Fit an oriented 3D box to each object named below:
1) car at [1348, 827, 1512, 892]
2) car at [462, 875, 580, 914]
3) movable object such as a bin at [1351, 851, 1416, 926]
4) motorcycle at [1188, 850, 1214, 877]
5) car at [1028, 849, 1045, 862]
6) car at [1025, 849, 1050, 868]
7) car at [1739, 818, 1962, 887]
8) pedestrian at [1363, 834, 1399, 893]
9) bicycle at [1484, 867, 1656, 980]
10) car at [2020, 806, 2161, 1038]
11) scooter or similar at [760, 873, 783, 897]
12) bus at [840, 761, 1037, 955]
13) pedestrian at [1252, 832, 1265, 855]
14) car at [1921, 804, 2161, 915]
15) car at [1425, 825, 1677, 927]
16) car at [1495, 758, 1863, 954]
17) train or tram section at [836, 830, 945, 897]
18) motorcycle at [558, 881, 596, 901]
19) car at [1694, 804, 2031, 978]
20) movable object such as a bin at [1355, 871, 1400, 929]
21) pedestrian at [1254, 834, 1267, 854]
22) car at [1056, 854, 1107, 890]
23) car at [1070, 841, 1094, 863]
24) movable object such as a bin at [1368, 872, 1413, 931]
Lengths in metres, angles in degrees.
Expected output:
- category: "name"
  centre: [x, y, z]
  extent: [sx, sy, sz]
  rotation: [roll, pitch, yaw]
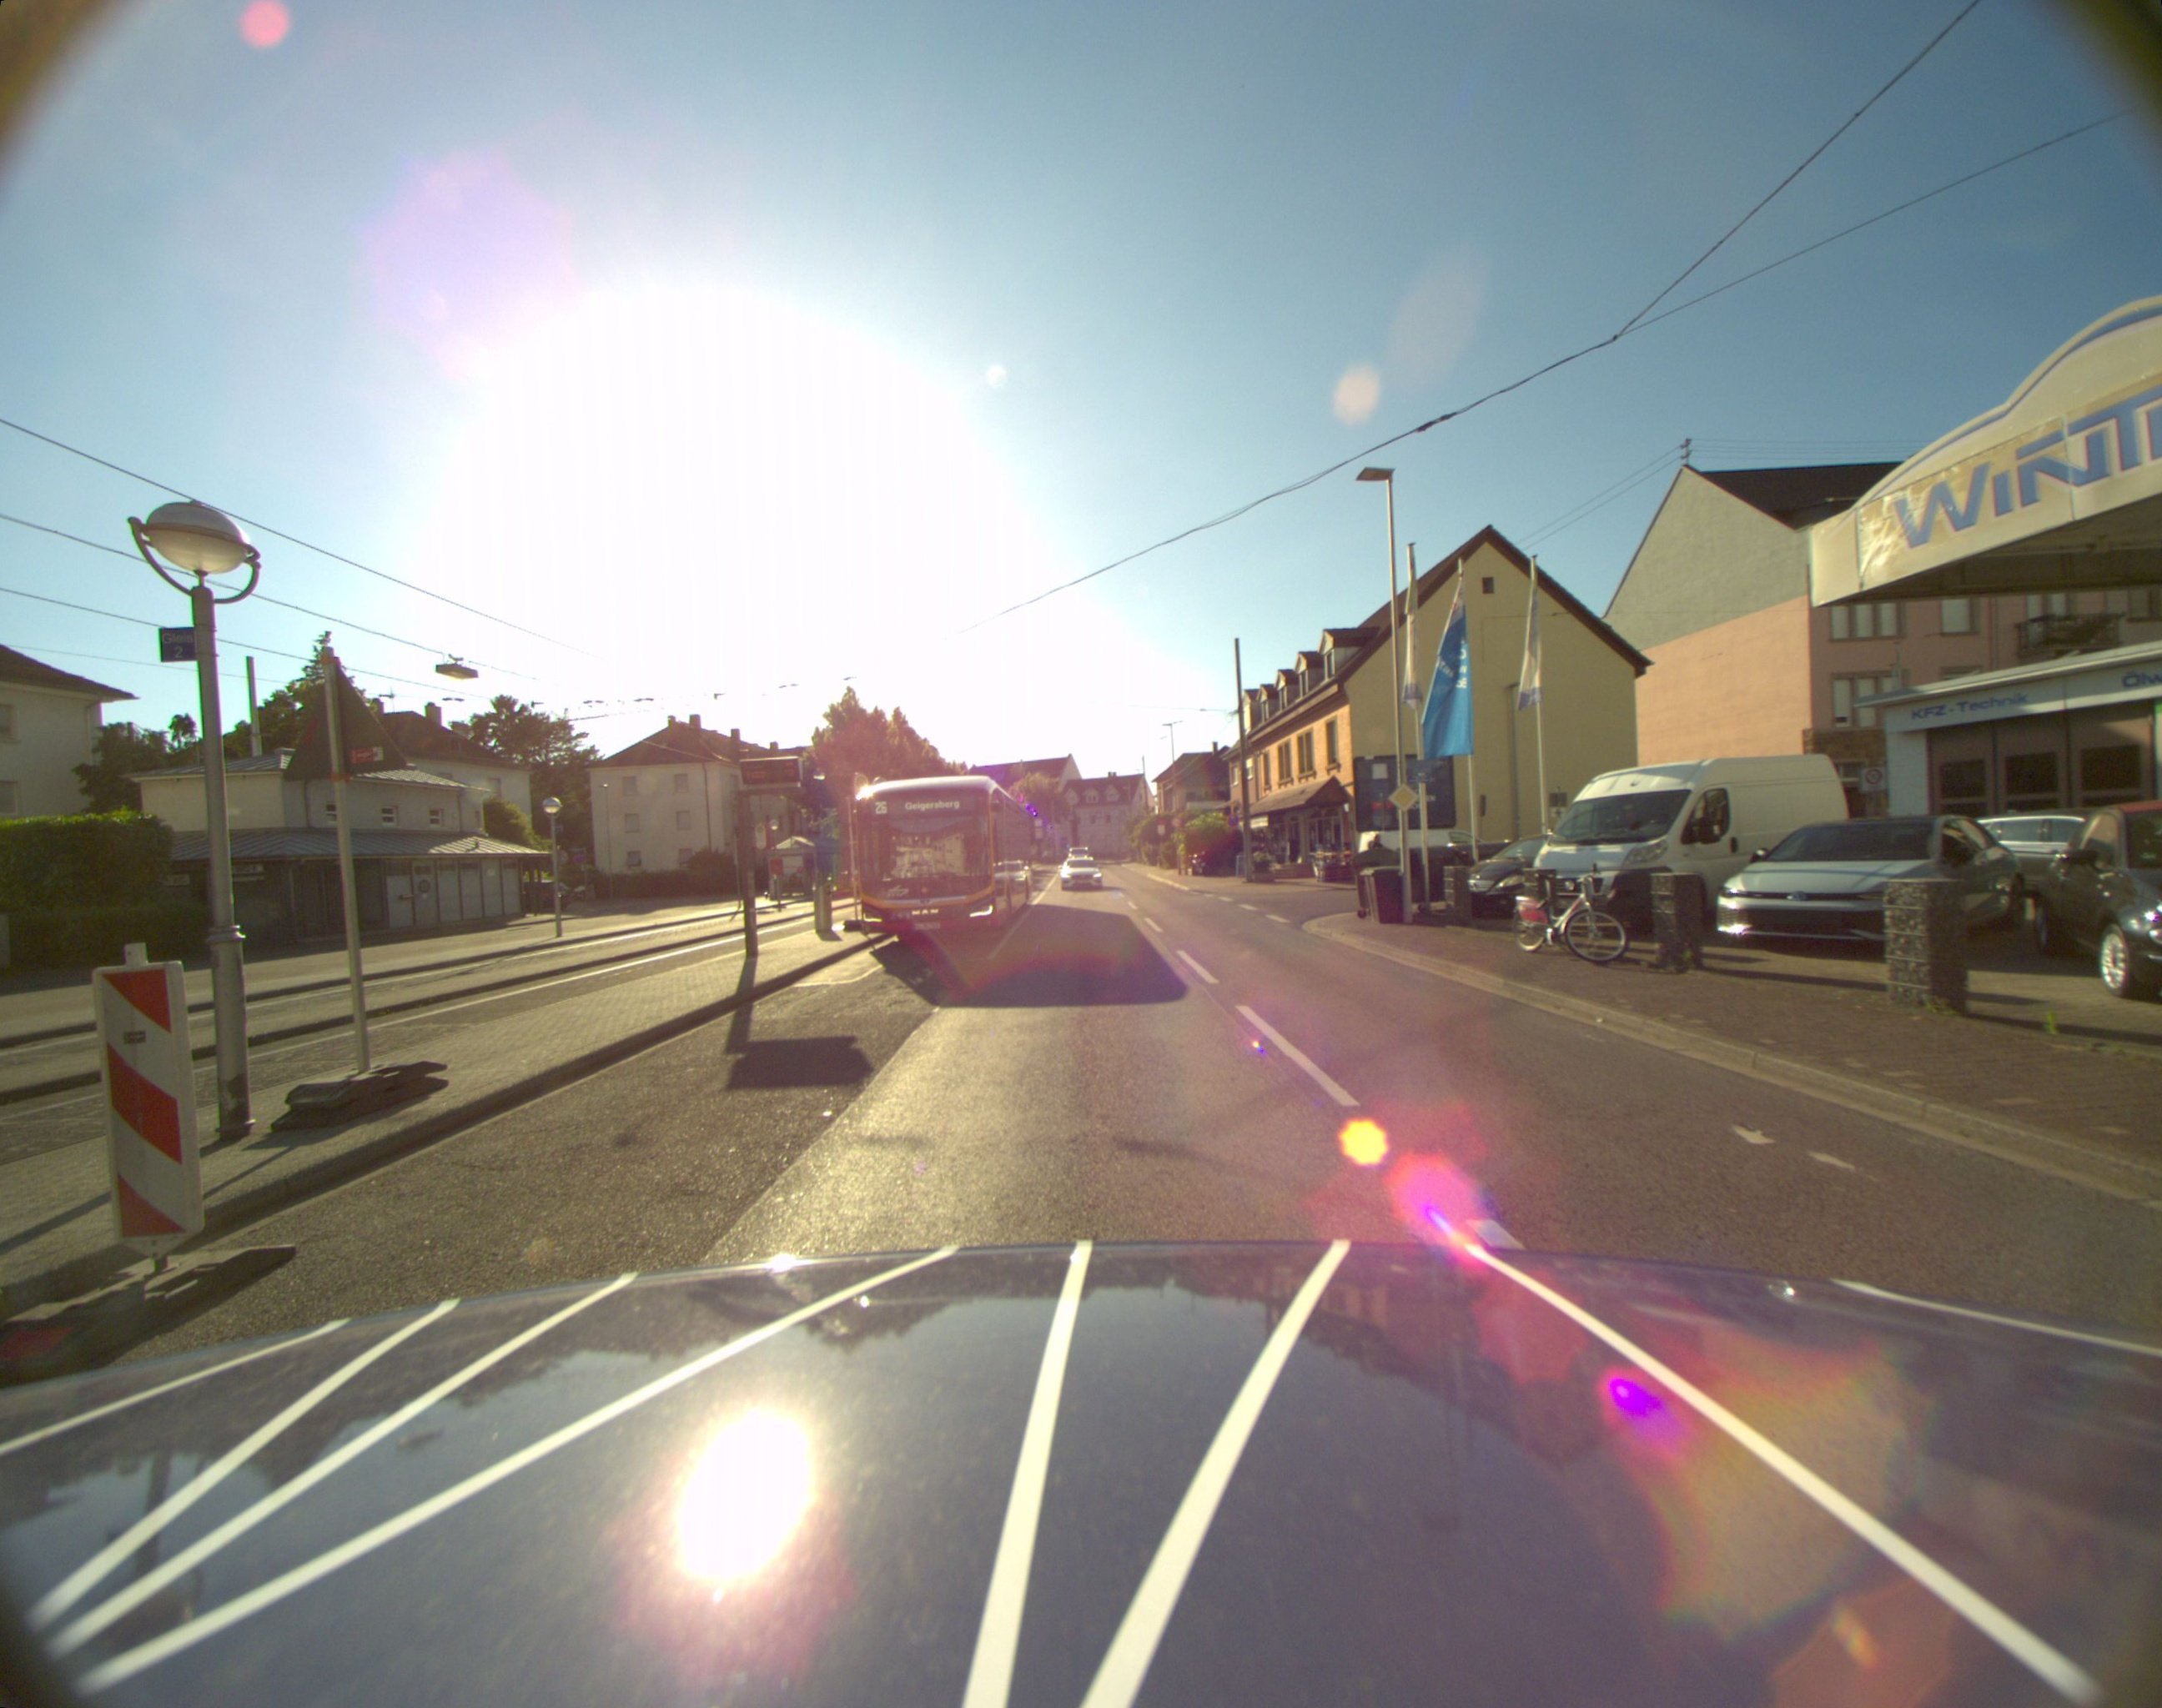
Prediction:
- category: "car"
  centre: [11.856, 0.170, 26.018]
  extent: [4.627, 1.922, 1.999]
  rotation: [-3, 1, -2]
- category: "car"
  centre: [-28.008, 2.009, 38.093]
  extent: [4.448, 1.759, 2.000]
  rotation: [-2, 1, 4]
- category: "movable object such as a bin"
  centre: [6.402, 0.721, 16.042]
  extent: [1.056, 1.473, 1.315]
  rotation: [-4, -3, 28]
- category: "motorcycle"
  centre: [6.297, 0.487, 40.109]
  extent: [0.841, 1.275, 2.231]
  rotation: [-4, 1, -3]
- category: "car"
  centre: [-5.918, 0.197, 101.205]
  extent: [1.998, 1.664, 4.000]
  rotation: [-2, 0, 1]
- category: "car"
  centre: [-4.024, 0.384, 70.963]
  extent: [1.998, 1.664, 4.000]
  rotation: [-2, 0, 1]
- category: "car"
  centre: [20.750, -0.079, 20.645]
  extent: [3.997, 1.517, 1.998]
  rotation: [-3, 5, 0]
- category: "pedestrian"
  centre: [9.752, 0.316, 24.742]
  extent: [0.794, 1.857, 0.820]
  rotation: [-3, 1, 2]
- category: "bicycle"
  centre: [5.869, 0.778, 9.267]
  extent: [0.725, 1.171, 1.779]
  rotation: [-3, 1, -9]
- category: "car"
  centre: [9.096, 0.400, 6.022]
  extent: [1.617, 1.559, 3.400]
  rotation: [-2, 1, 43]
- category: "scooter or similar"
  centre: [-16.202, 1.625, 39.830]
  extent: [0.467, 1.201, 1.210]
  rotation: [-2, 1, 11]
- category: "bus"
  centre: [-2.928, 0.048, 19.775]
  extent: [2.695, 3.396, 12.017]
  rotation: [-3, 0, 0]
- category: "pedestrian"
  centre: [9.689, -0.559, 41.480]
  extent: [0.524, 1.251, 0.465]
  rotation: [-3, 1, 1]
- category: "car"
  centre: [16.343, 0.039, 11.774]
  extent: [1.772, 1.559, 4.315]
  rotation: [-4, 0, -1]
- category: "car"
  centre: [8.957, 0.384, 14.583]
  extent: [4.001, 1.559, 1.771]
  rotation: [-4, 0, -14]
- category: "car"
  centre: [9.167, -0.072, 11.653]
  extent: [5.076, 2.455, 2.105]
  rotation: [-4, 1, -22]
- category: "train or tram section"
  centre: [-11.688, 0.302, 48.942]
  extent: [2.965, 3.514, 15.964]
  rotation: [-2, 2, 0]
- category: "motorcycle"
  centre: [-31.035, 2.275, 46.786]
  extent: [1.826, 1.155, 0.558]
  rotation: [-3, 1, -3]
- category: "car"
  centre: [9.347, 0.324, 9.043]
  extent: [4.005, 1.559, 1.769]
  rotation: [-4, 0, -29]
- category: "movable object such as a bin"
  centre: [5.857, 0.900, 15.023]
  extent: [0.661, 1.056, 0.585]
  rotation: [-5, -1, 12]
- category: "pedestrian"
  centre: [9.503, -0.520, 40.245]
  extent: [0.525, 1.041, 0.383]
  rotation: [-3, 1, -16]
- category: "car"
  centre: [0.092, 0.805, 35.532]
  extent: [1.998, 1.454, 4.450]
  rotation: [-3, 0, 4]
- category: "car"
  centre: [0.061, -0.188, 71.503]
  extent: [1.871, 1.922, 4.791]
  rotation: [-4, 0, -2]
- category: "movable object such as a bin"
  centre: [5.849, 0.896, 14.387]
  extent: [0.641, 1.063, 0.581]
  rotation: [-3, -2, 12]
